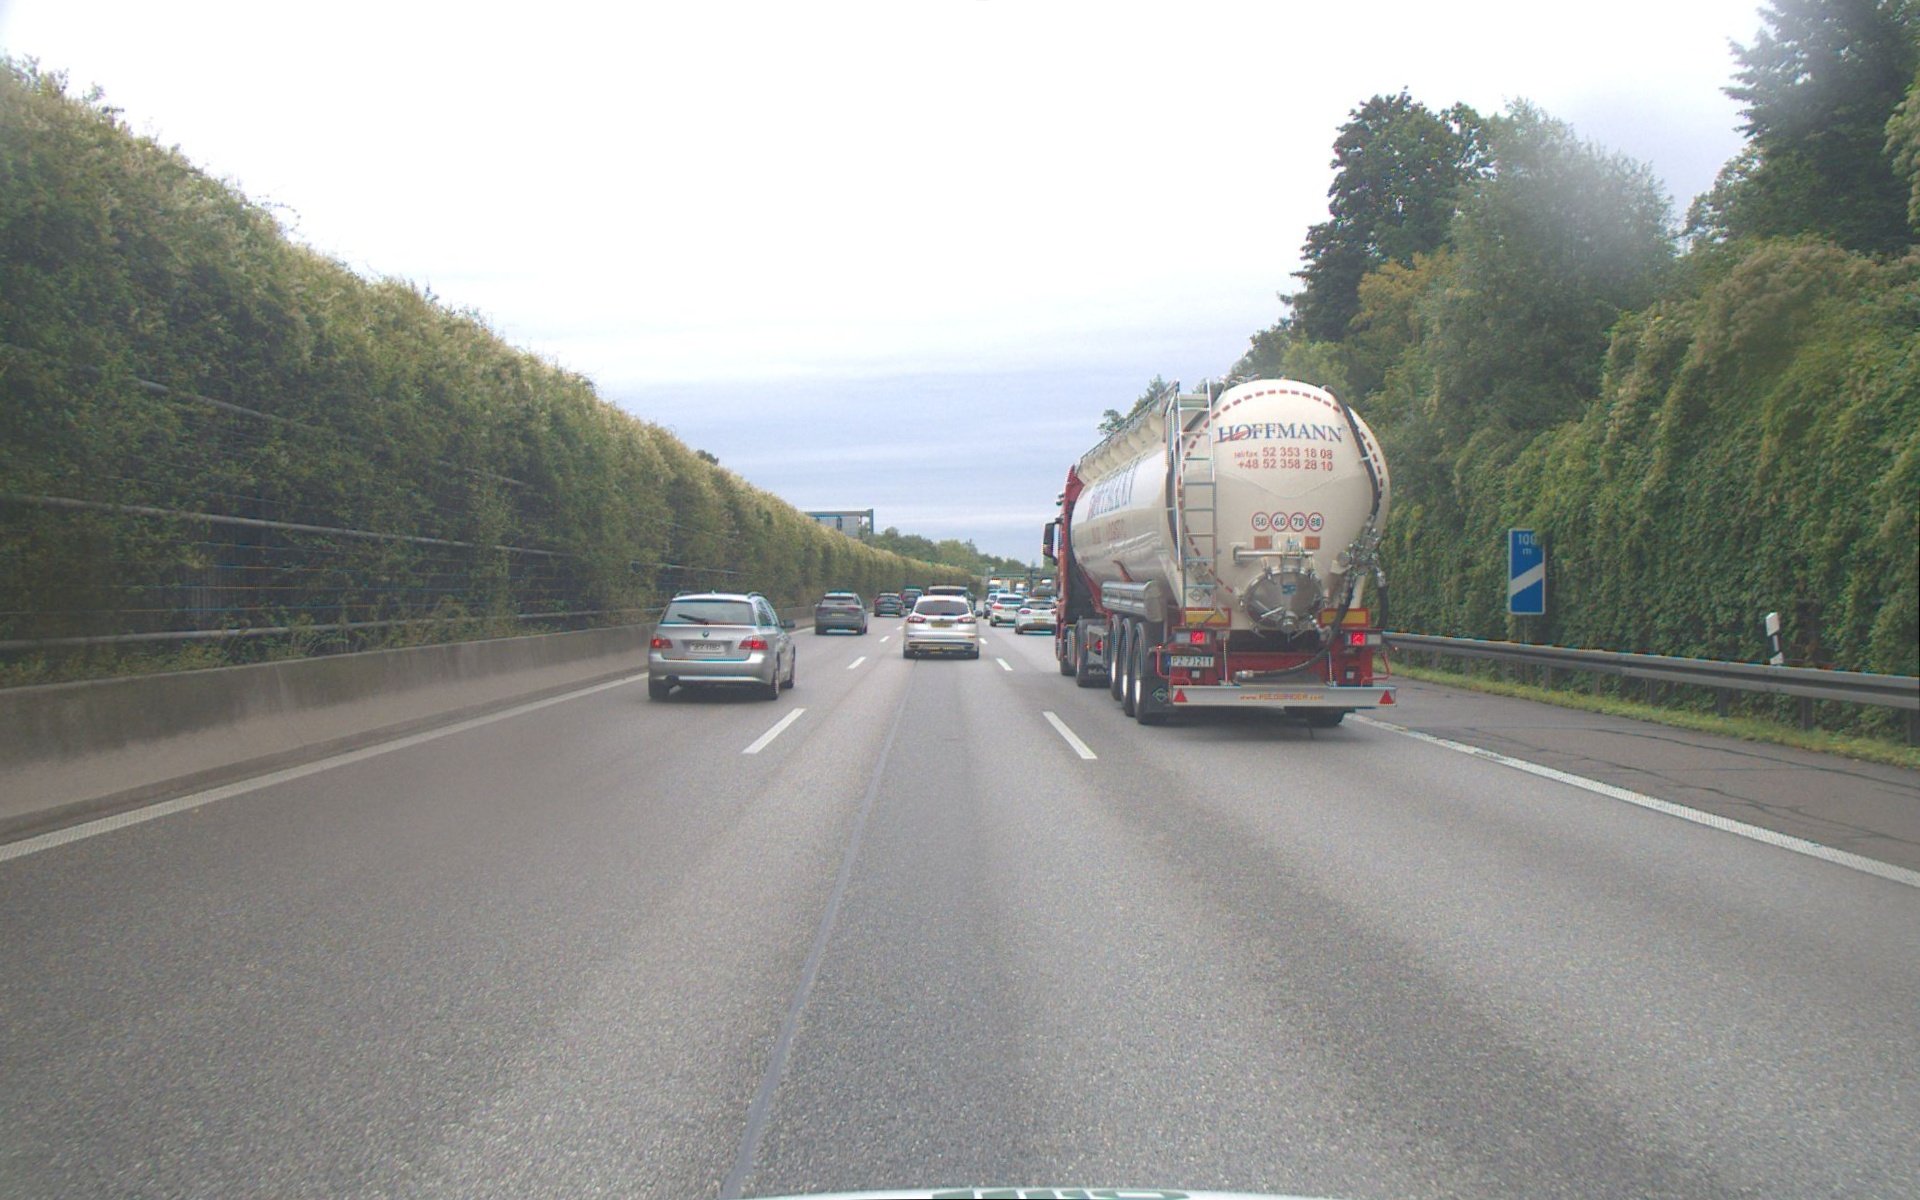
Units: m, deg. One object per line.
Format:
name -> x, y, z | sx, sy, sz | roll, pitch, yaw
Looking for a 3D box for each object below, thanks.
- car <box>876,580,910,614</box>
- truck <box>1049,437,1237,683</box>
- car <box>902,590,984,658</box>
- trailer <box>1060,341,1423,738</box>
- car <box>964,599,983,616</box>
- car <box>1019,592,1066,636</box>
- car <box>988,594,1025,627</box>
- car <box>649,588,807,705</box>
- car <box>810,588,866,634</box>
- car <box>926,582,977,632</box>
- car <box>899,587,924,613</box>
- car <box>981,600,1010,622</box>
car -> -4.144, -0.166, 102.647 | 1.953, 2.049, 3.840 | 1, 0, -1
truck -> 3.168, -0.648, 30.292 | 2.640, 3.981, 6.555 | 1, 0, 0
car -> -0.431, 0.532, 40.404 | 1.853, 1.530, 5.029 | 1, 0, -1
trailer -> 3.281, -0.599, 23.439 | 2.614, 4.008, 13.126 | 1, 0, -1
car -> 1.241, 0.687, 155.026 | 1.654, 1.566, 3.871 | 1, 1, -1
car -> 3.254, 0.523, 65.830 | 1.778, 1.654, 5.031 | 1, 0, 2
car -> 2.265, 0.500, 81.246 | 1.654, 1.533, 3.870 | 1, 0, -1
car -> -3.340, 0.604, 24.633 | 1.685, 1.494, 5.029 | 1, 1, -1
car -> -4.330, 0.371, 59.453 | 1.685, 1.538, 5.029 | 1, 0, -1
car -> -0.317, 0.221, 60.142 | 1.655, 1.532, 3.871 | 5, 2, -1
car -> -3.877, -0.022, 133.472 | 1.953, 2.049, 3.999 | 1, 0, -1
car -> 2.269, 0.722, 106.438 | 1.654, 1.354, 3.870 | 1, 0, -1
